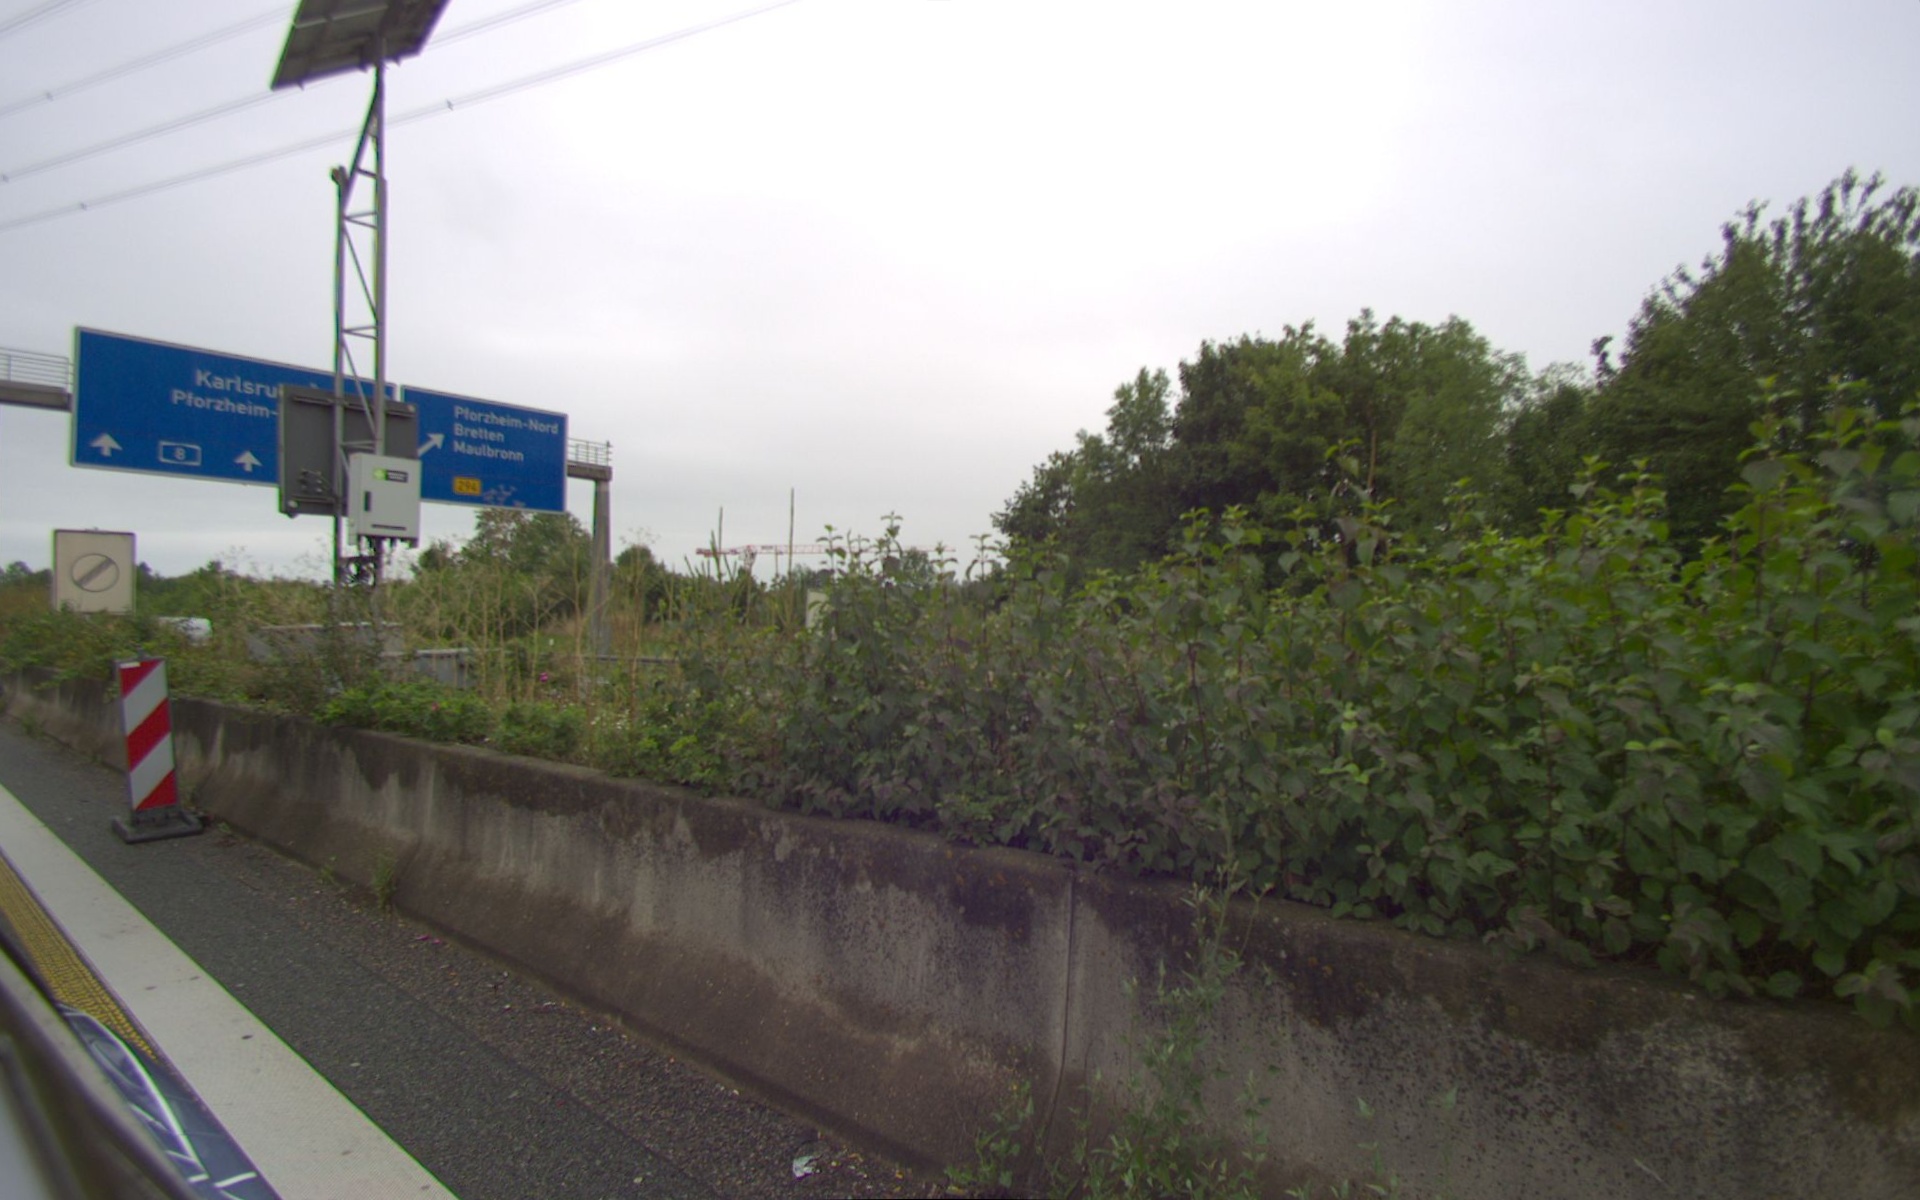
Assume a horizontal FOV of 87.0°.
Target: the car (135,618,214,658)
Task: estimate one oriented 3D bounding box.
[{"bbox_3d":[-36.206,1.723,46.600,5.057,1.740,1.973,-1,-1,41],"label":"car"}]
